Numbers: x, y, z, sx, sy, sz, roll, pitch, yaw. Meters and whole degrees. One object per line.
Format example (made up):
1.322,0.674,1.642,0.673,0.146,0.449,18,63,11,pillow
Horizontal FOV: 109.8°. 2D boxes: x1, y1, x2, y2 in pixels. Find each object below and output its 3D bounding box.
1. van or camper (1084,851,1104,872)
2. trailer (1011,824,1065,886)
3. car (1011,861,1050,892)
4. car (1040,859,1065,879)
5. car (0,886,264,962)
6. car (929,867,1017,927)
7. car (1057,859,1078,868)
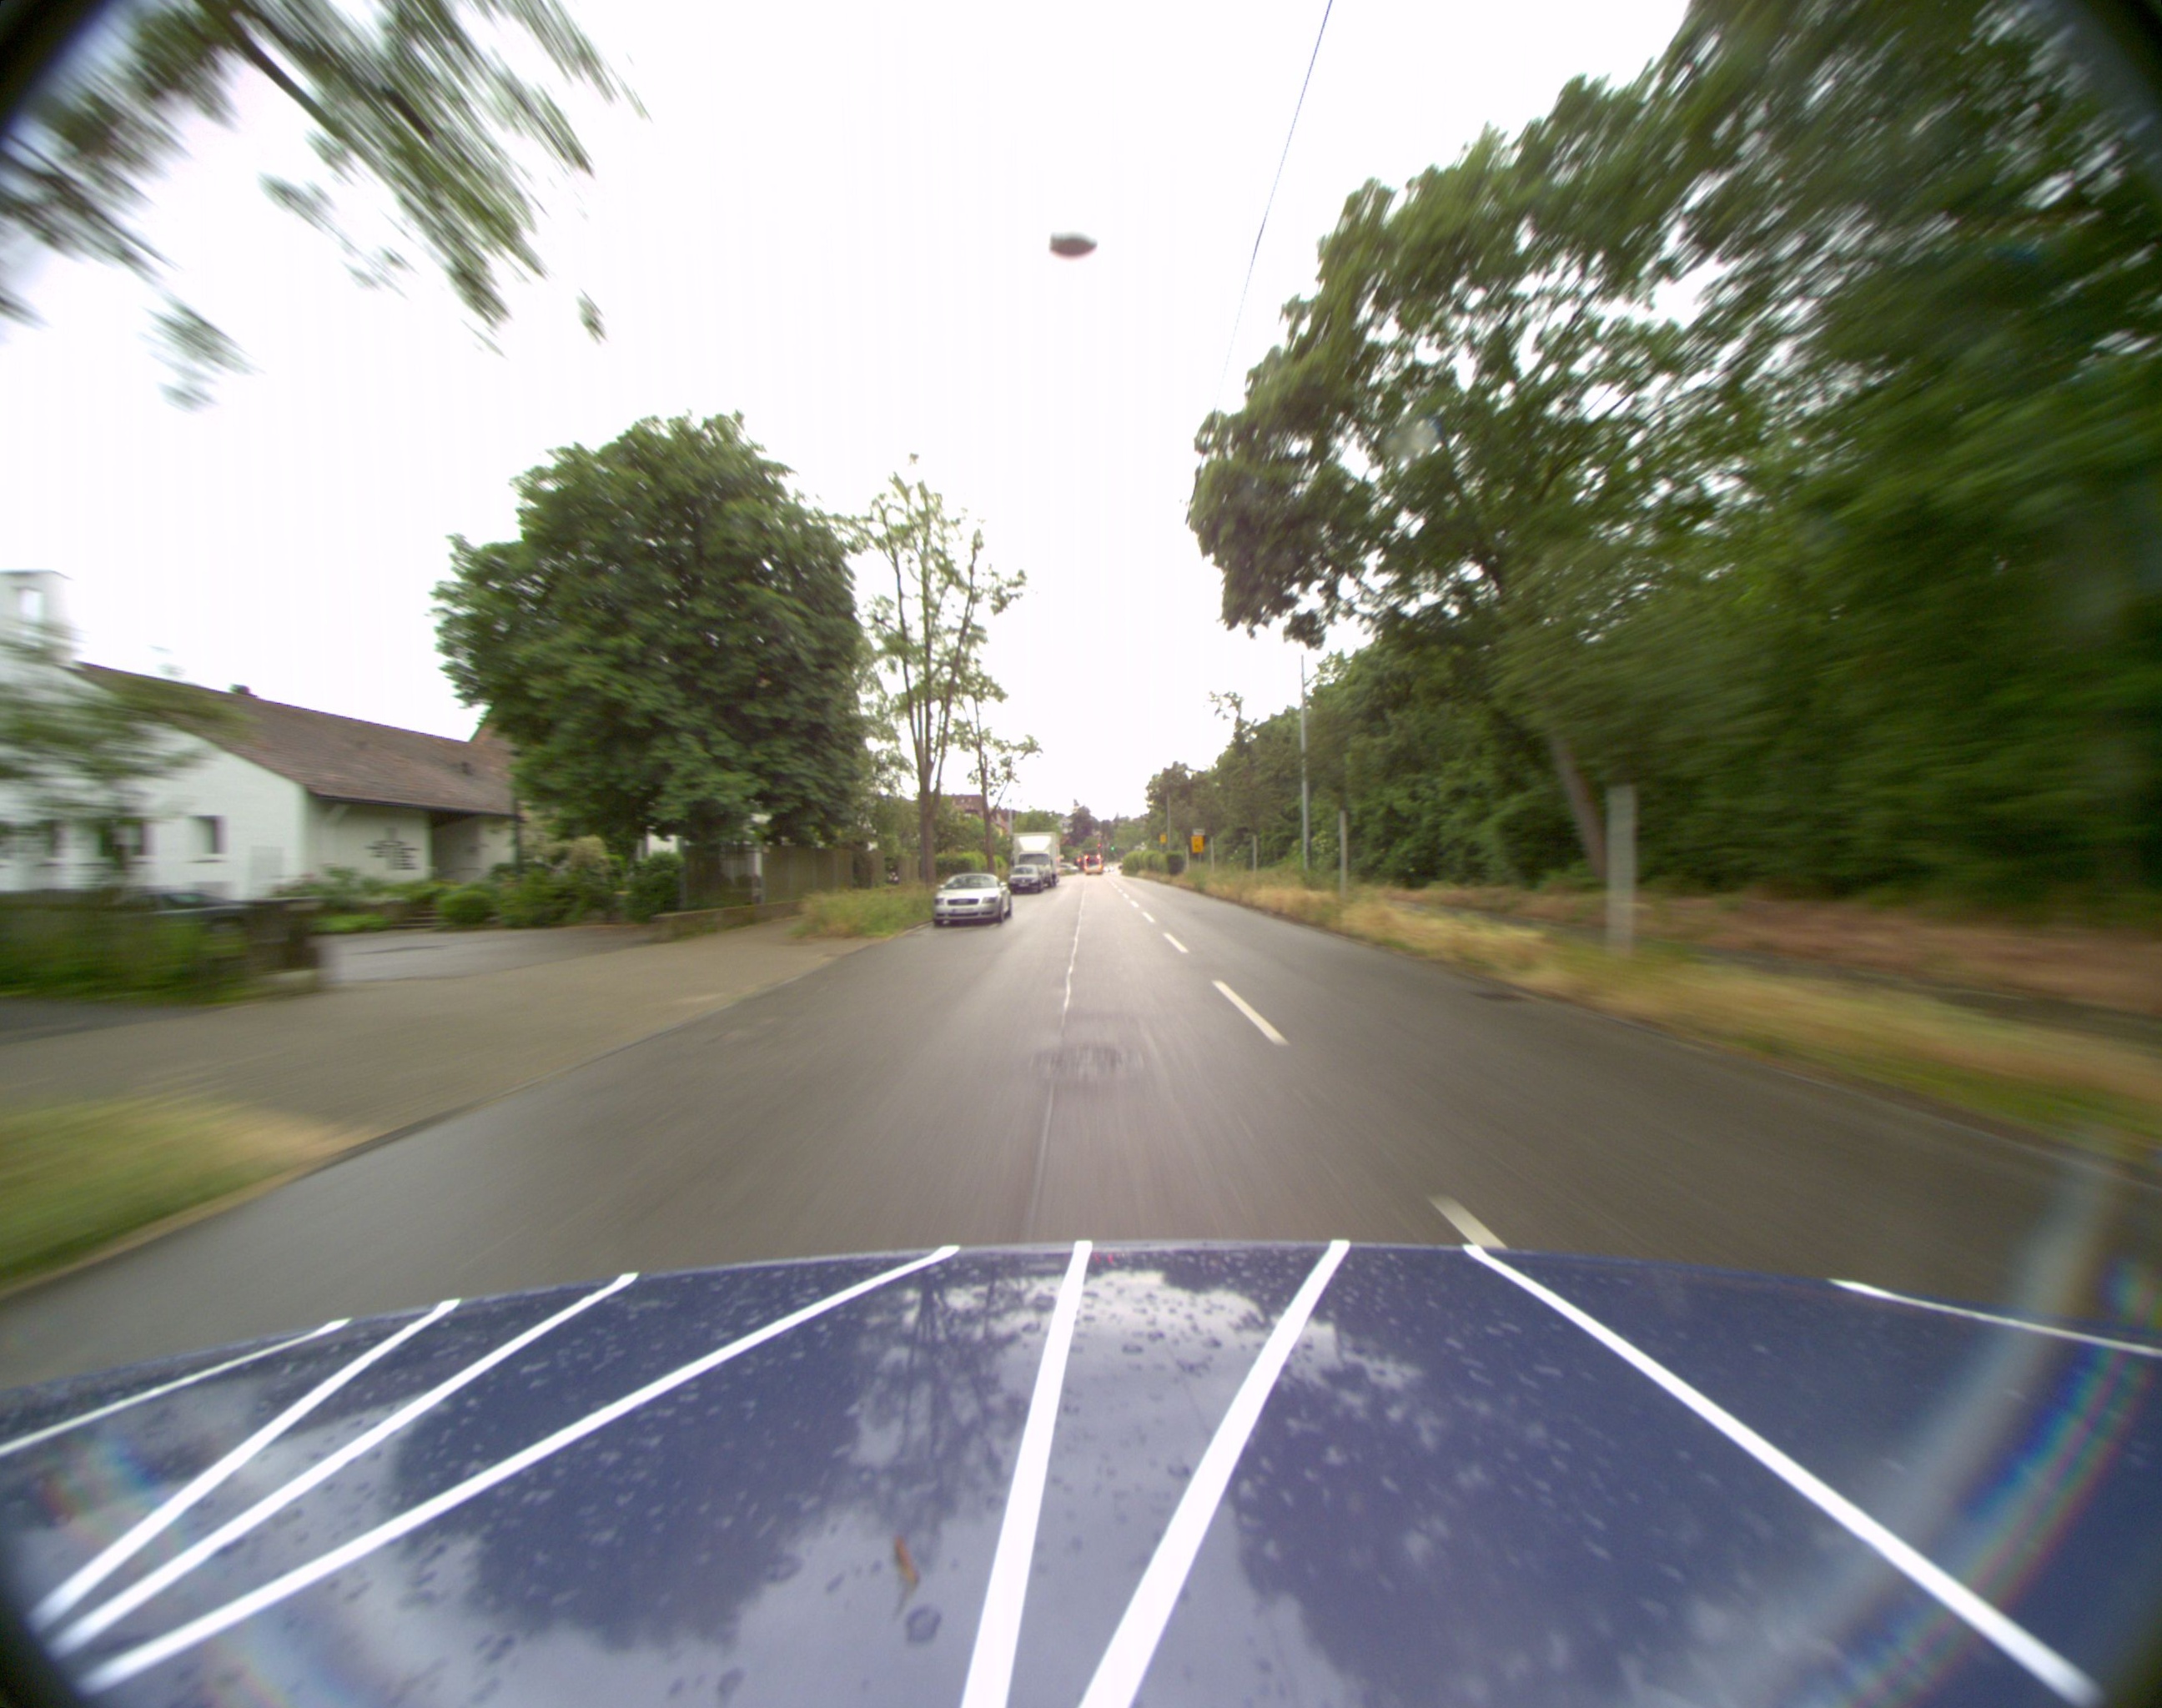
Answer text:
2.185,1.153,124.065,2.862,3.159,6.852,-3,0,3,van or camper
-2.609,0.095,48.848,2.741,3.487,8.248,-3,0,0,trailer
-2.604,1.133,39.597,1.645,1.455,4.000,-3,0,1,car
-2.216,1.157,60.374,1.800,1.465,4.548,-3,0,0,car
-22.596,1.569,17.876,1.618,1.367,4.527,-3,0,5,car
-2.840,1.097,20.826,1.786,1.387,4.000,-3,0,0,car
-3.276,2.294,186.223,5.049,1.967,2.001,-3,0,5,car
